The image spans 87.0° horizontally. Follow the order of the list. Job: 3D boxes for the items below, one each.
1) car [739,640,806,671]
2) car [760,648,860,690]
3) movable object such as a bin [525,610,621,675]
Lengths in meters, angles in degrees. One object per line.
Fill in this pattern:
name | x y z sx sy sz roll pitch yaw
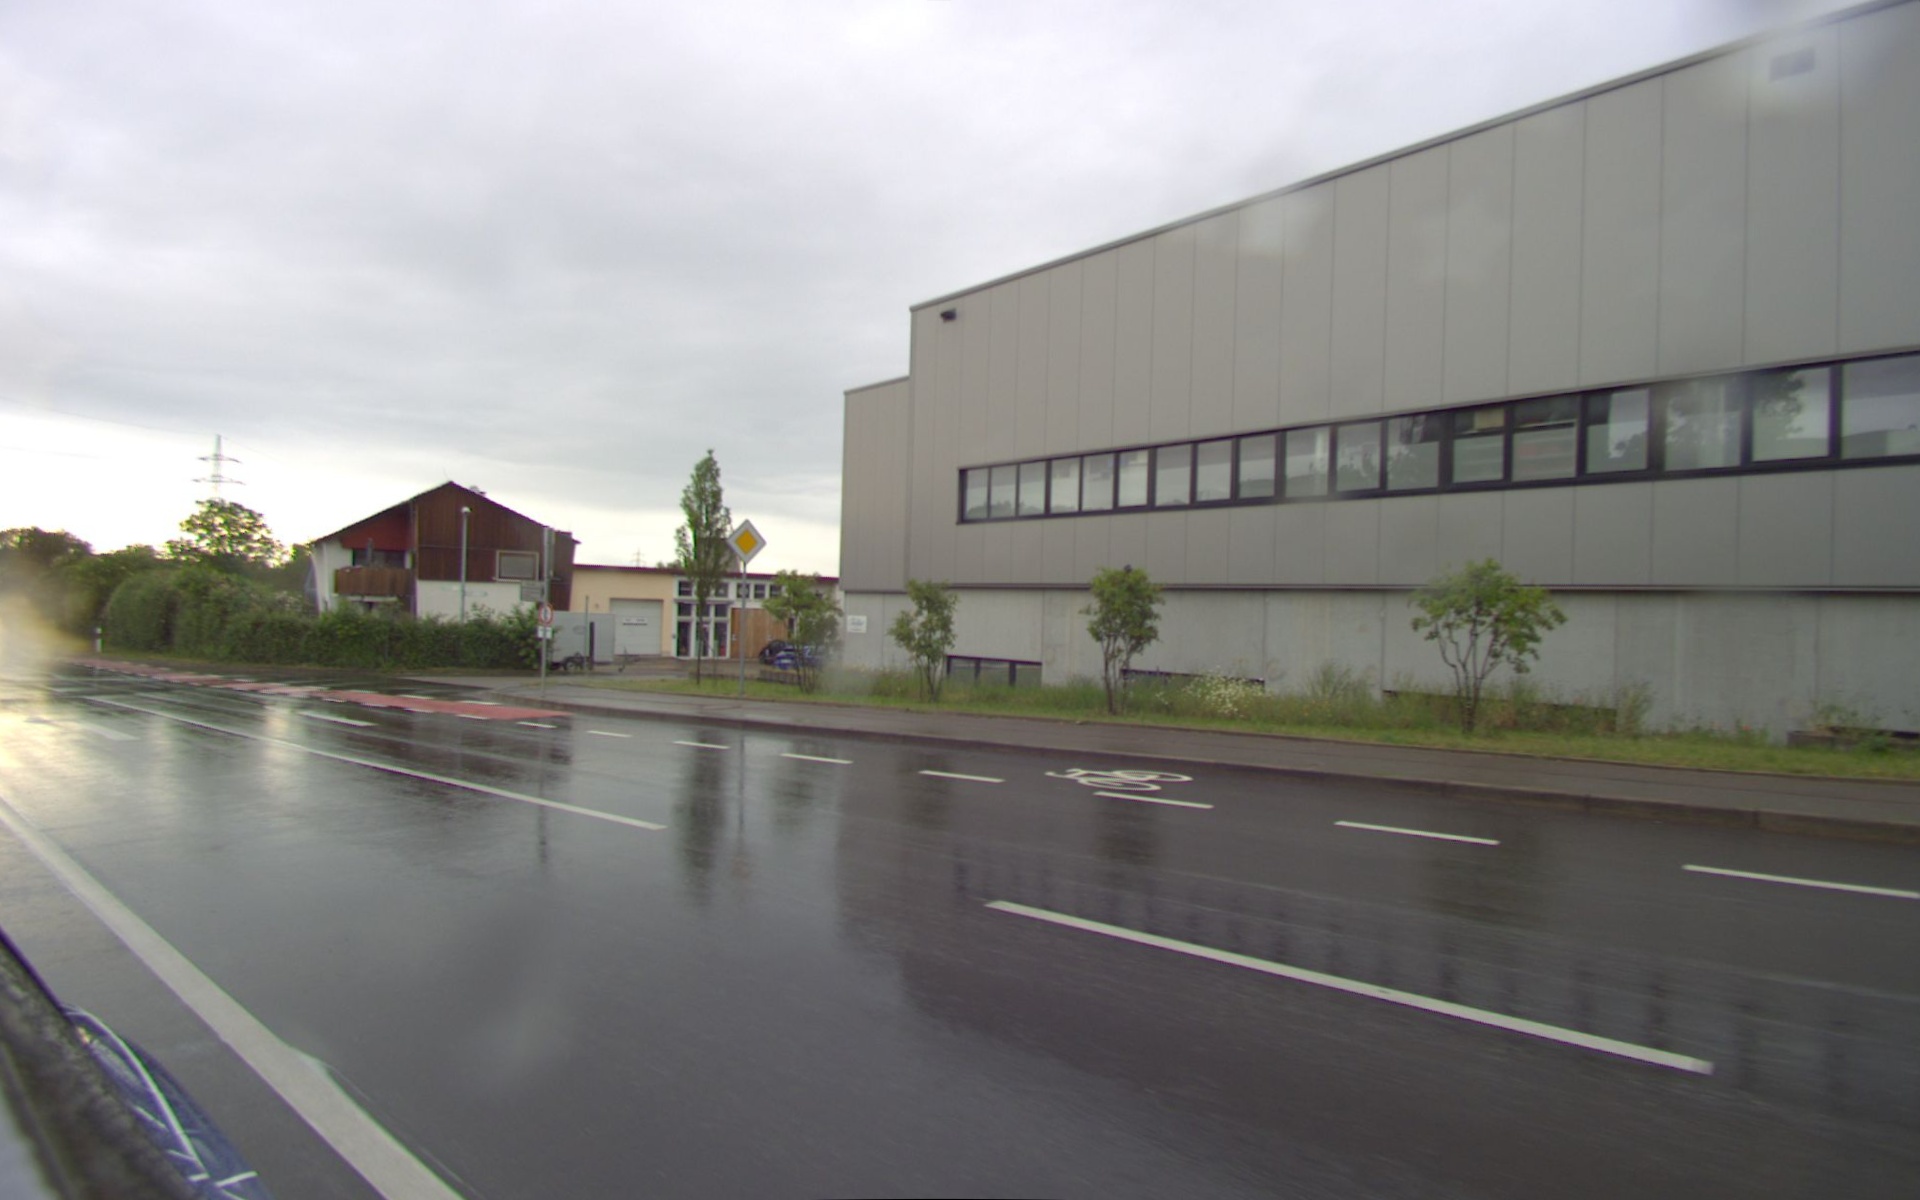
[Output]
car | -10.471 3.070 56.463 1.968 1.567 4.008 6 -5 -38
car | -6.224 2.946 42.598 1.948 1.622 4.406 1 -4 27
movable object such as a bin | -16.514 1.859 43.237 3.289 2.576 1.740 6 -5 -43
